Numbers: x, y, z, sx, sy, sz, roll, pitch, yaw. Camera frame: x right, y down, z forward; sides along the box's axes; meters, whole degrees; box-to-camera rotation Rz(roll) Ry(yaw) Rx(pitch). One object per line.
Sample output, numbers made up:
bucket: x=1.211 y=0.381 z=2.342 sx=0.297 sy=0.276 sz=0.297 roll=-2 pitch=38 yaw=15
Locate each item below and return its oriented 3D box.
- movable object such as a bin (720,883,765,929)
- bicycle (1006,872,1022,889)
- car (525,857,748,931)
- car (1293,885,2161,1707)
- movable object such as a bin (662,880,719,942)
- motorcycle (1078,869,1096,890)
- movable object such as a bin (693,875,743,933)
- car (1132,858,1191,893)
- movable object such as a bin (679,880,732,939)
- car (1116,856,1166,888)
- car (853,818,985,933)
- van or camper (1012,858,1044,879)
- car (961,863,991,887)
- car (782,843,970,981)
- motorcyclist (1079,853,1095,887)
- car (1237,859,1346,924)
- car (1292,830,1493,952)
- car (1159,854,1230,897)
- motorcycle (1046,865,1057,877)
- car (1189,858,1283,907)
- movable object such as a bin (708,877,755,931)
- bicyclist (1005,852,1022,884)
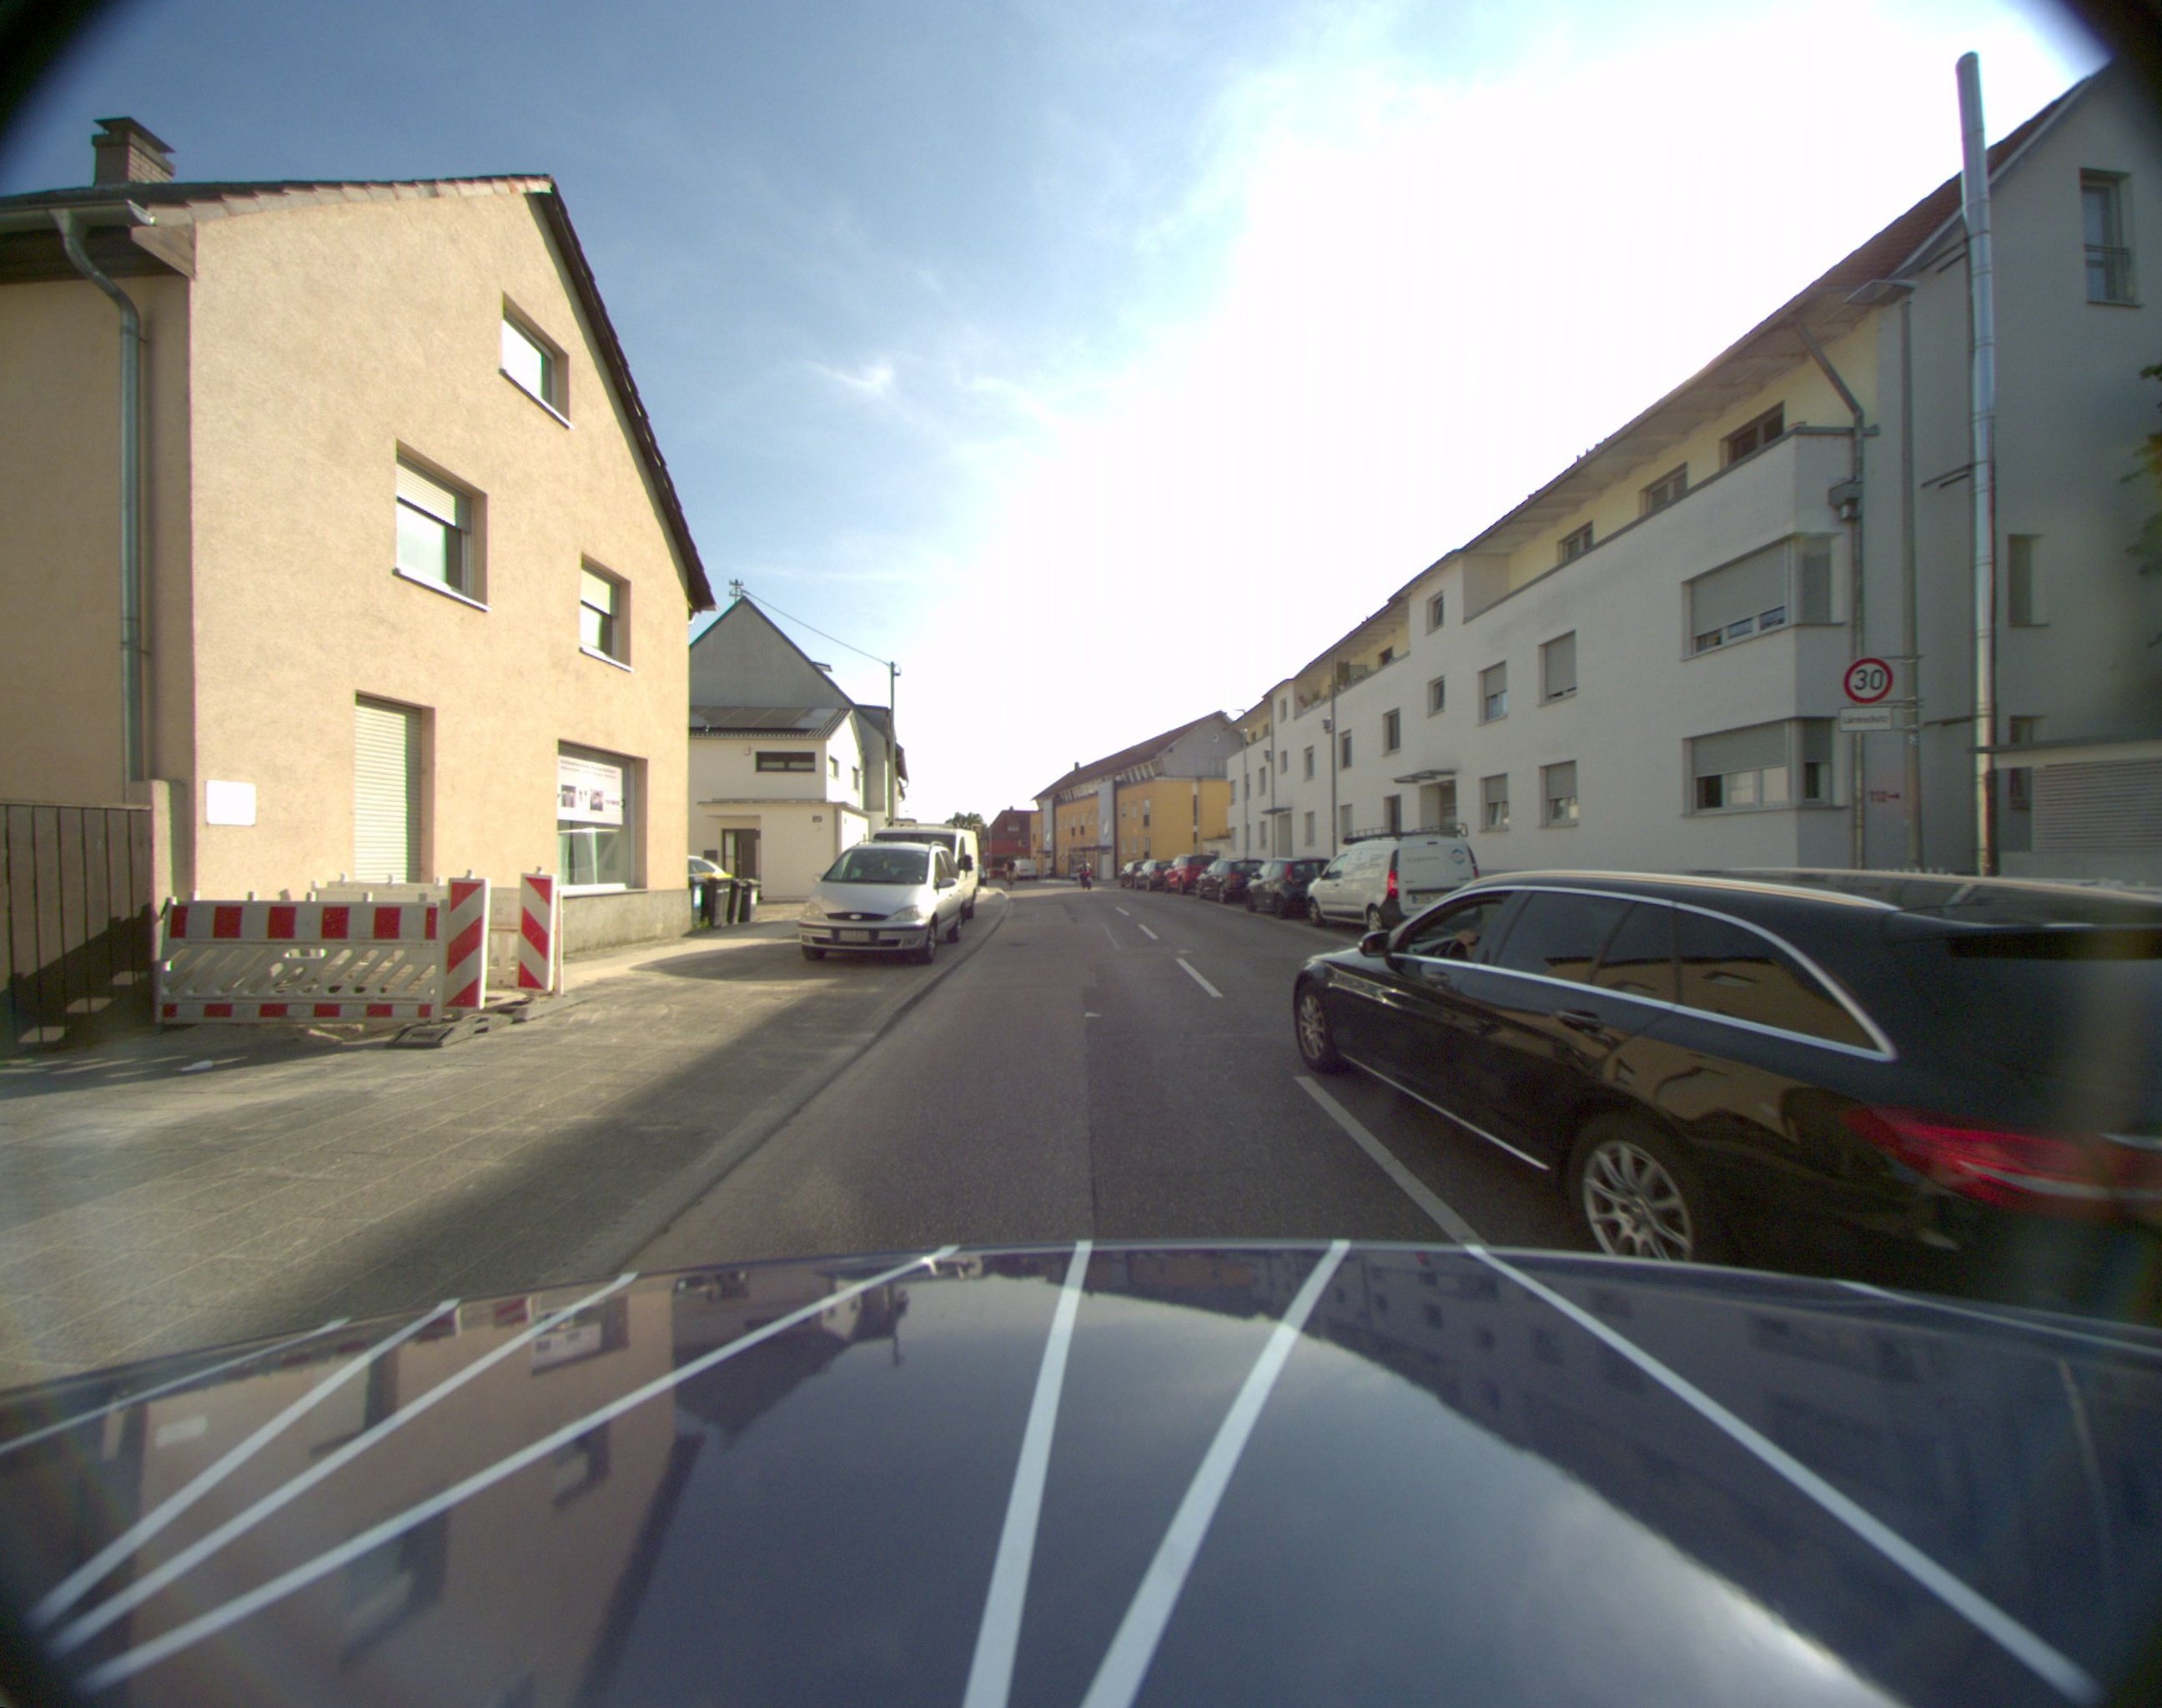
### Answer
movable object such as a bin: x=-7.338 y=1.113 z=16.490 sx=0.730 sy=0.953 sz=0.553 roll=-1 pitch=0 yaw=-2
bicycle: x=-3.610 y=1.401 z=40.889 sx=0.681 sy=0.849 sz=2.025 roll=-1 pitch=0 yaw=-10
car: x=-9.482 y=0.798 z=16.599 sx=1.657 sy=1.399 sz=3.986 roll=1 pitch=-1 yaw=23
car: x=2.587 y=0.933 z=3.445 sx=1.835 sy=1.411 sz=4.207 roll=0 pitch=0 yaw=-4
movable object such as a bin: x=-7.203 y=1.044 z=14.033 sx=0.730 sy=1.087 sz=0.625 roll=-1 pitch=0 yaw=-2
motorcycle: x=0.305 y=1.240 z=37.829 sx=0.770 sy=0.979 sz=2.198 roll=-1 pitch=0 yaw=-2
movable object such as a bin: x=-7.289 y=0.995 z=15.293 sx=0.730 sy=1.125 sz=0.553 roll=-1 pitch=0 yaw=-2
car: x=3.761 y=0.979 z=36.265 sx=1.733 sy=1.469 sz=4.499 roll=-2 pitch=0 yaw=-8
movable object such as a bin: x=-7.234 y=1.057 z=14.644 sx=0.730 sy=1.087 sz=0.553 roll=-1 pitch=0 yaw=-2
car: x=3.255 y=0.975 z=41.918 sx=1.781 sy=1.612 sz=4.175 roll=-3 pitch=0 yaw=-8
car: x=-3.598 y=0.466 z=17.904 sx=2.180 sy=2.313 sz=4.996 roll=1 pitch=-1 yaw=-2
van or camper: x=-5.242 y=1.365 z=74.238 sx=2.002 sy=1.991 sz=4.913 roll=-1 pitch=0 yaw=-18
car: x=-6.563 y=1.302 z=47.340 sx=1.613 sy=1.412 sz=3.916 roll=0 pitch=0 yaw=-11
car: x=-2.924 y=0.749 z=11.867 sx=1.782 sy=1.731 sz=4.483 roll=1 pitch=0 yaw=-1
motorcyclist: x=0.291 y=0.792 z=37.697 sx=0.771 sy=1.642 sz=0.843 roll=-1 pitch=0 yaw=-2
car: x=5.199 y=0.879 z=19.222 sx=1.497 sy=1.456 sz=3.512 roll=-2 pitch=0 yaw=-5
car: x=5.730 y=0.619 z=14.658 sx=1.732 sy=1.949 sz=4.437 roll=-1 pitch=0 yaw=-5
car: x=4.565 y=0.833 z=31.161 sx=1.732 sy=1.612 sz=4.261 roll=-2 pitch=0 yaw=-7
motorcycle: x=-3.143 y=1.815 z=80.859 sx=0.584 sy=1.175 sz=1.875 roll=-1 pitch=0 yaw=-20
car: x=5.059 y=0.882 z=25.407 sx=1.733 sy=1.469 sz=4.260 roll=-1 pitch=0 yaw=-8
movable object such as a bin: x=-7.310 y=1.045 z=15.909 sx=0.730 sy=1.087 sz=0.553 roll=-1 pitch=0 yaw=-2
bicyclist: x=-3.637 y=0.761 z=40.962 sx=0.846 sy=1.679 sz=0.877 roll=-1 pitch=0 yaw=-10
